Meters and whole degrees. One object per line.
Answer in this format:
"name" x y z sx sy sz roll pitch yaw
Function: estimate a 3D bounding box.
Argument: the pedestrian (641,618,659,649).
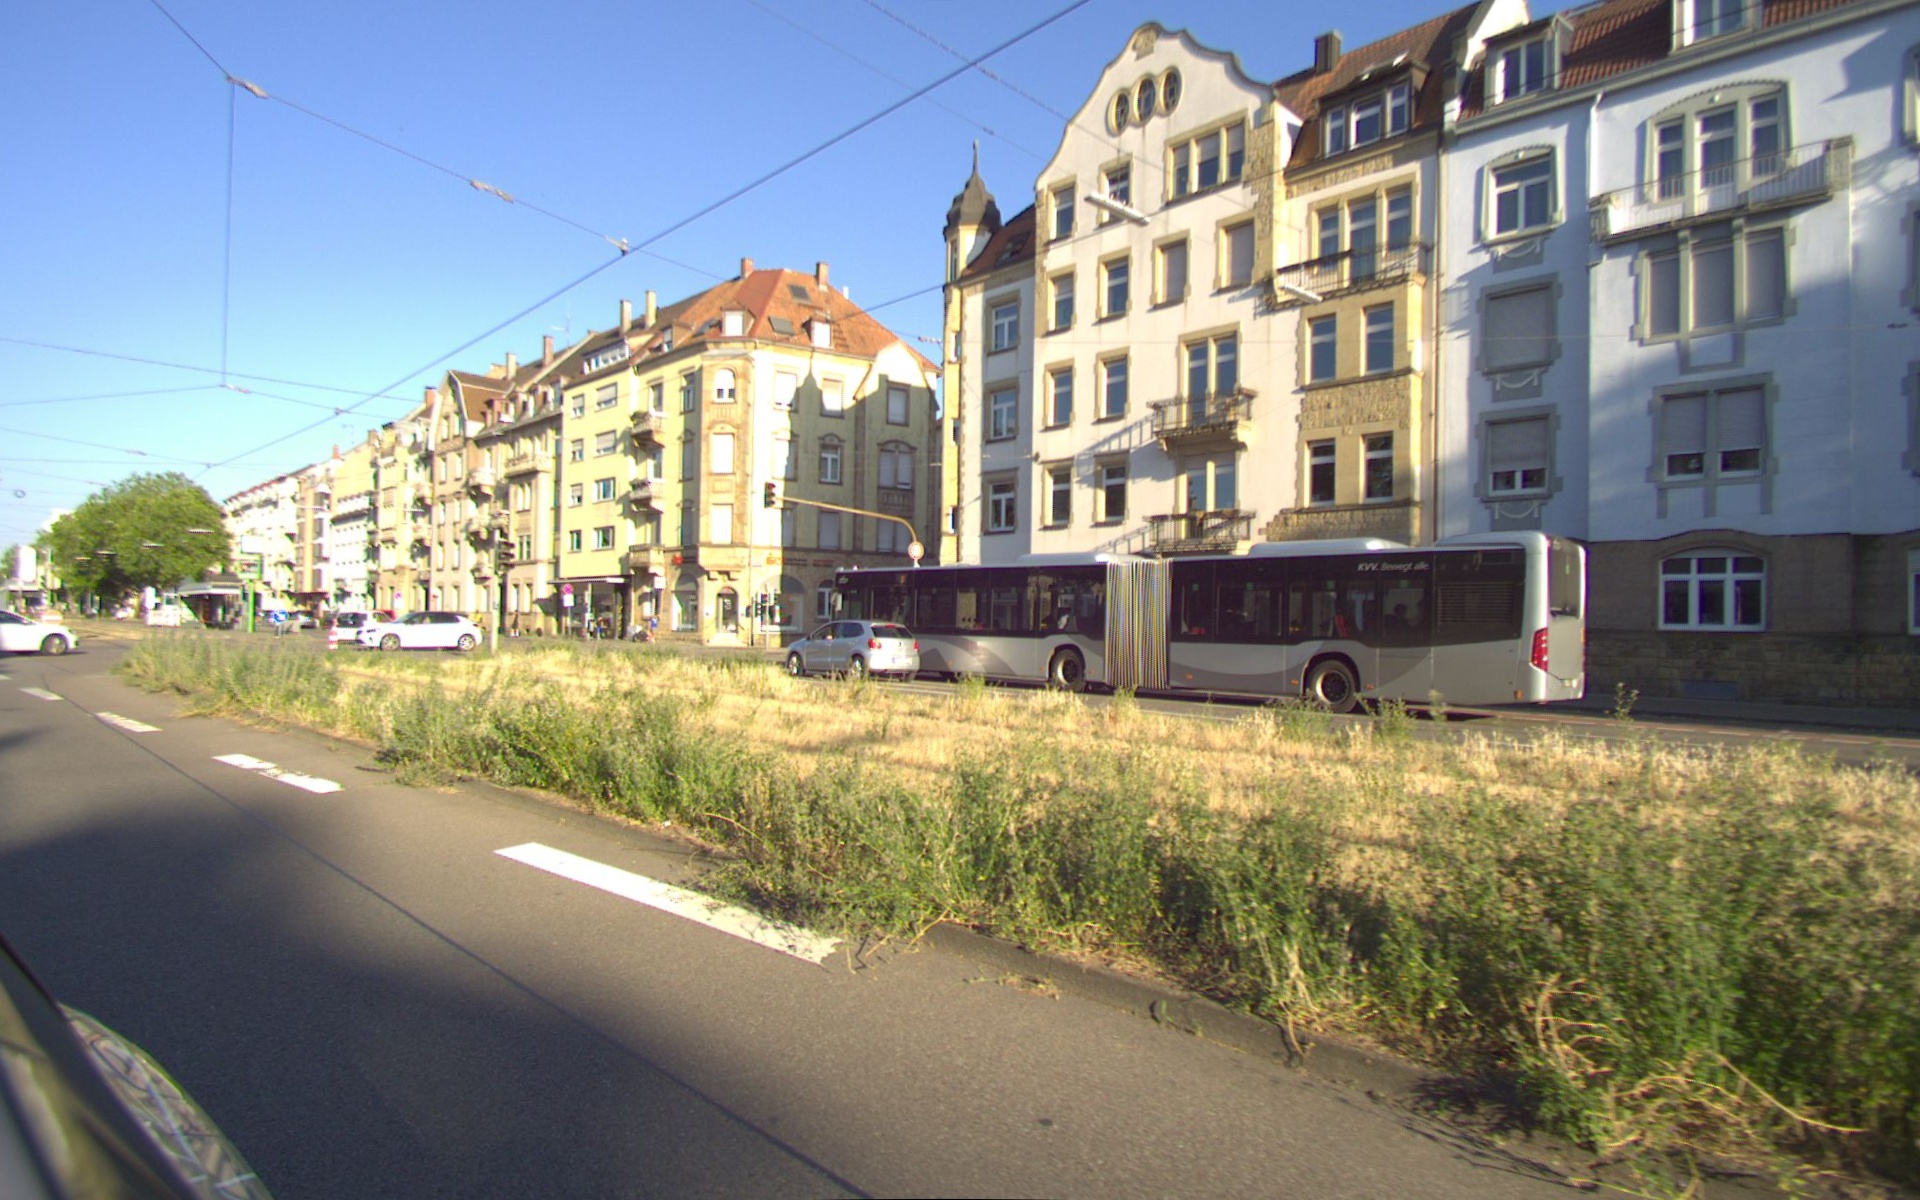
"pedestrian" -16.707 1.806 54.552 0.770 1.653 0.621 -1 -2 43

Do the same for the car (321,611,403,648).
"car" -25.754 1.254 43.737 1.710 1.491 3.821 1 -2 -8

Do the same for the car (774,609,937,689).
"car" -2.615 1.129 24.581 1.907 1.696 4.005 2 -1 -42

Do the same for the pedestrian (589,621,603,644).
"pedestrian" -21.374 1.904 59.422 0.555 1.373 0.546 -1 -2 44

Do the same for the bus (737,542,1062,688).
"bus" -2.060 0.350 28.300 9.903 3.399 3.228 1 -1 44

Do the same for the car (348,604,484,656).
"car" -19.433 1.073 36.229 3.939 1.719 1.838 2 -1 -43

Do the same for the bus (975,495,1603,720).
"bus" 5.782 0.106 20.639 11.982 3.399 3.218 1 -1 44

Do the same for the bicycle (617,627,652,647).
"bicycle" -18.248 2.044 56.676 2.502 1.064 0.658 0 -2 42

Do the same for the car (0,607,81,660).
"car" -27.700 0.936 28.469 1.834 1.461 4.075 1 -1 25

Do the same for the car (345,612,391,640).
"car" -43.443 1.889 74.236 1.892 1.914 4.313 2 -1 -44
